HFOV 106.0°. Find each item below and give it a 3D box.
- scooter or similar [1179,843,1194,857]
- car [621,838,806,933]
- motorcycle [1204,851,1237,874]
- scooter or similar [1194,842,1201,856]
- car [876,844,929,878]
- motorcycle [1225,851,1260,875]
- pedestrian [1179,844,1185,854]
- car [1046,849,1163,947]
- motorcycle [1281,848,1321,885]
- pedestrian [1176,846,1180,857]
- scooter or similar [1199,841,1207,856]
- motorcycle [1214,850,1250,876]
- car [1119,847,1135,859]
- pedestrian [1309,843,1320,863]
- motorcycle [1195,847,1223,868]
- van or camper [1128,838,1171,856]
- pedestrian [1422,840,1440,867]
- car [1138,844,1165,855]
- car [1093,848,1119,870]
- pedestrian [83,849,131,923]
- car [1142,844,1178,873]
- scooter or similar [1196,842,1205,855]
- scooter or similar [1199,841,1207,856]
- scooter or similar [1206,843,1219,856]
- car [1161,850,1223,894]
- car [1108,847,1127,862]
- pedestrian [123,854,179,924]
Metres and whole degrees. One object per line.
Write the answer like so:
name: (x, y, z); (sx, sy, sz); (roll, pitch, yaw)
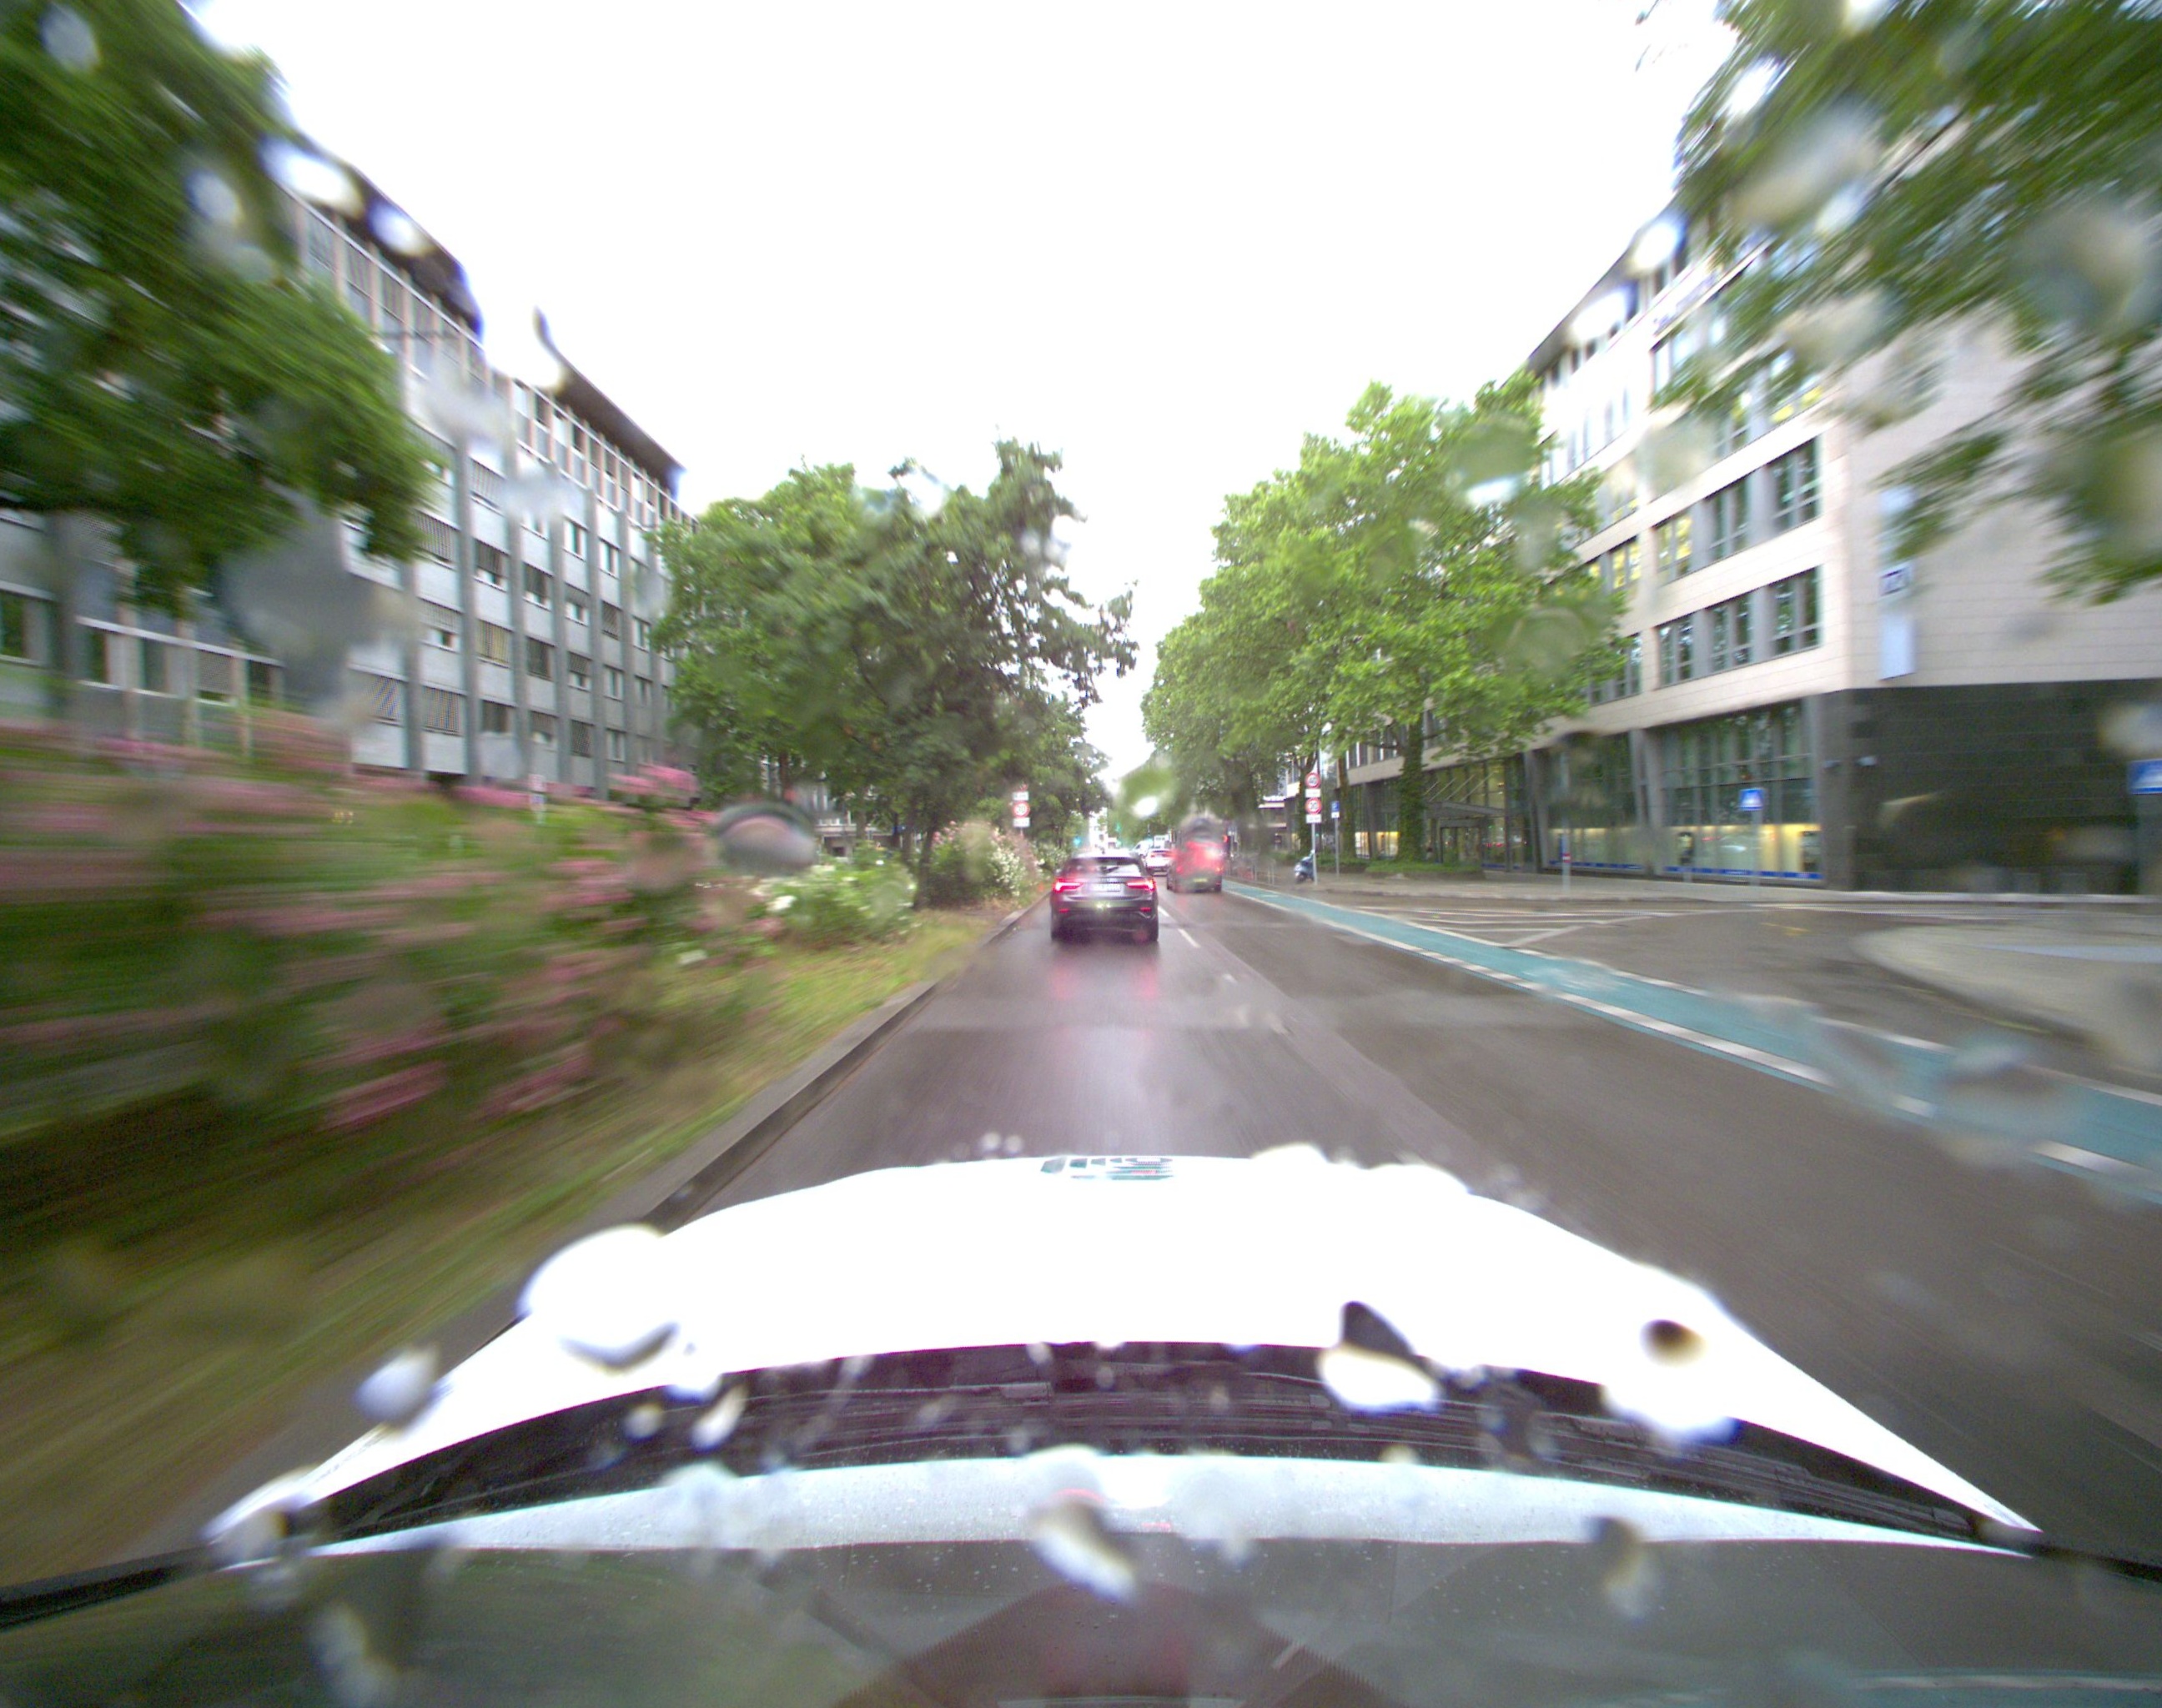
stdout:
scooter or similar: (9.983, -0.420, 76.833); (1.280, 1.259, 0.491); (-2, 2, 12)
car: (-7.093, 0.543, 16.221); (1.716, 1.637, 4.016); (-1, 0, 2)
motorcycle: (9.217, 0.561, 53.815); (1.962, 1.373, 0.724); (-3, 2, -21)
scooter or similar: (11.043, -0.490, 77.396); (0.486, 1.259, 1.294); (-3, 2, 1)
car: (-9.167, 0.326, 42.158); (1.716, 1.637, 4.016); (-1, 0, 2)
motorcycle: (9.353, 0.520, 47.041); (2.069, 1.212, 0.677); (-4, 0, -35)
pedestrian: (17.378, -0.840, 140.383); (0.803, 1.696, 1.187); (-1, 0, -1)
car: (0.398, 0.693, 15.058); (1.843, 1.523, 4.038); (-1, 0, 0)
motorcycle: (9.084, 0.495, 33.557); (0.676, 1.367, 1.958); (-5, -1, 41)
pedestrian: (16.969, -0.424, 142.535); (0.551, 1.805, 0.761); (0, -1, -2)
scooter or similar: (11.171, -0.515, 74.484); (0.486, 1.259, 1.294); (-3, 2, 1)
motorcycle: (9.155, 0.535, 49.420); (2.061, 1.428, 0.724); (-3, 2, -21)
car: (5.943, -0.174, 105.098); (1.843, 1.523, 4.039); (-1, 0, 1)
pedestrian: (21.173, -0.055, 73.748); (0.822, 1.803, 0.730); (-1, 0, 3)
motorcycle: (9.520, 0.258, 60.576); (1.959, 1.373, 0.725); (-3, 2, -15)
van or camper: (10.423, -1.089, 123.829); (6.008, 2.558, 2.117); (-1, 0, 28)
pedestrian: (22.400, -0.048, 52.099); (0.720, 1.693, 0.833); (-2, 1, 44)
car: (10.212, -0.595, 117.883); (3.618, 1.547, 1.723); (-1, 0, 20)
car: (1.800, 0.316, 59.859); (1.843, 1.523, 4.039); (-1, 0, 1)
pedestrian: (-24.250, 0.795, 20.286); (0.546, 1.807, 0.522); (-1, 0, 1)
car: (4.779, 0.264, 49.813); (1.843, 1.669, 4.039); (-1, 0, 1)
scooter or similar: (11.465, -0.489, 78.247); (0.487, 1.198, 1.290); (-1, 0, -8)
scooter or similar: (11.171, -0.515, 74.484); (0.486, 1.259, 1.294); (-3, 2, 1)
scooter or similar: (12.629, -0.446, 78.009); (0.490, 1.198, 1.281); (-1, -1, -30)
car: (4.141, 0.615, 30.881); (1.843, 1.523, 4.039); (-1, 0, 1)
car: (3.792, 0.044, 85.669); (1.843, 1.523, 4.039); (-1, 0, 1)
pedestrian: (-23.165, 0.863, 20.291); (0.561, 1.708, 0.686); (-1, 0, 1)
